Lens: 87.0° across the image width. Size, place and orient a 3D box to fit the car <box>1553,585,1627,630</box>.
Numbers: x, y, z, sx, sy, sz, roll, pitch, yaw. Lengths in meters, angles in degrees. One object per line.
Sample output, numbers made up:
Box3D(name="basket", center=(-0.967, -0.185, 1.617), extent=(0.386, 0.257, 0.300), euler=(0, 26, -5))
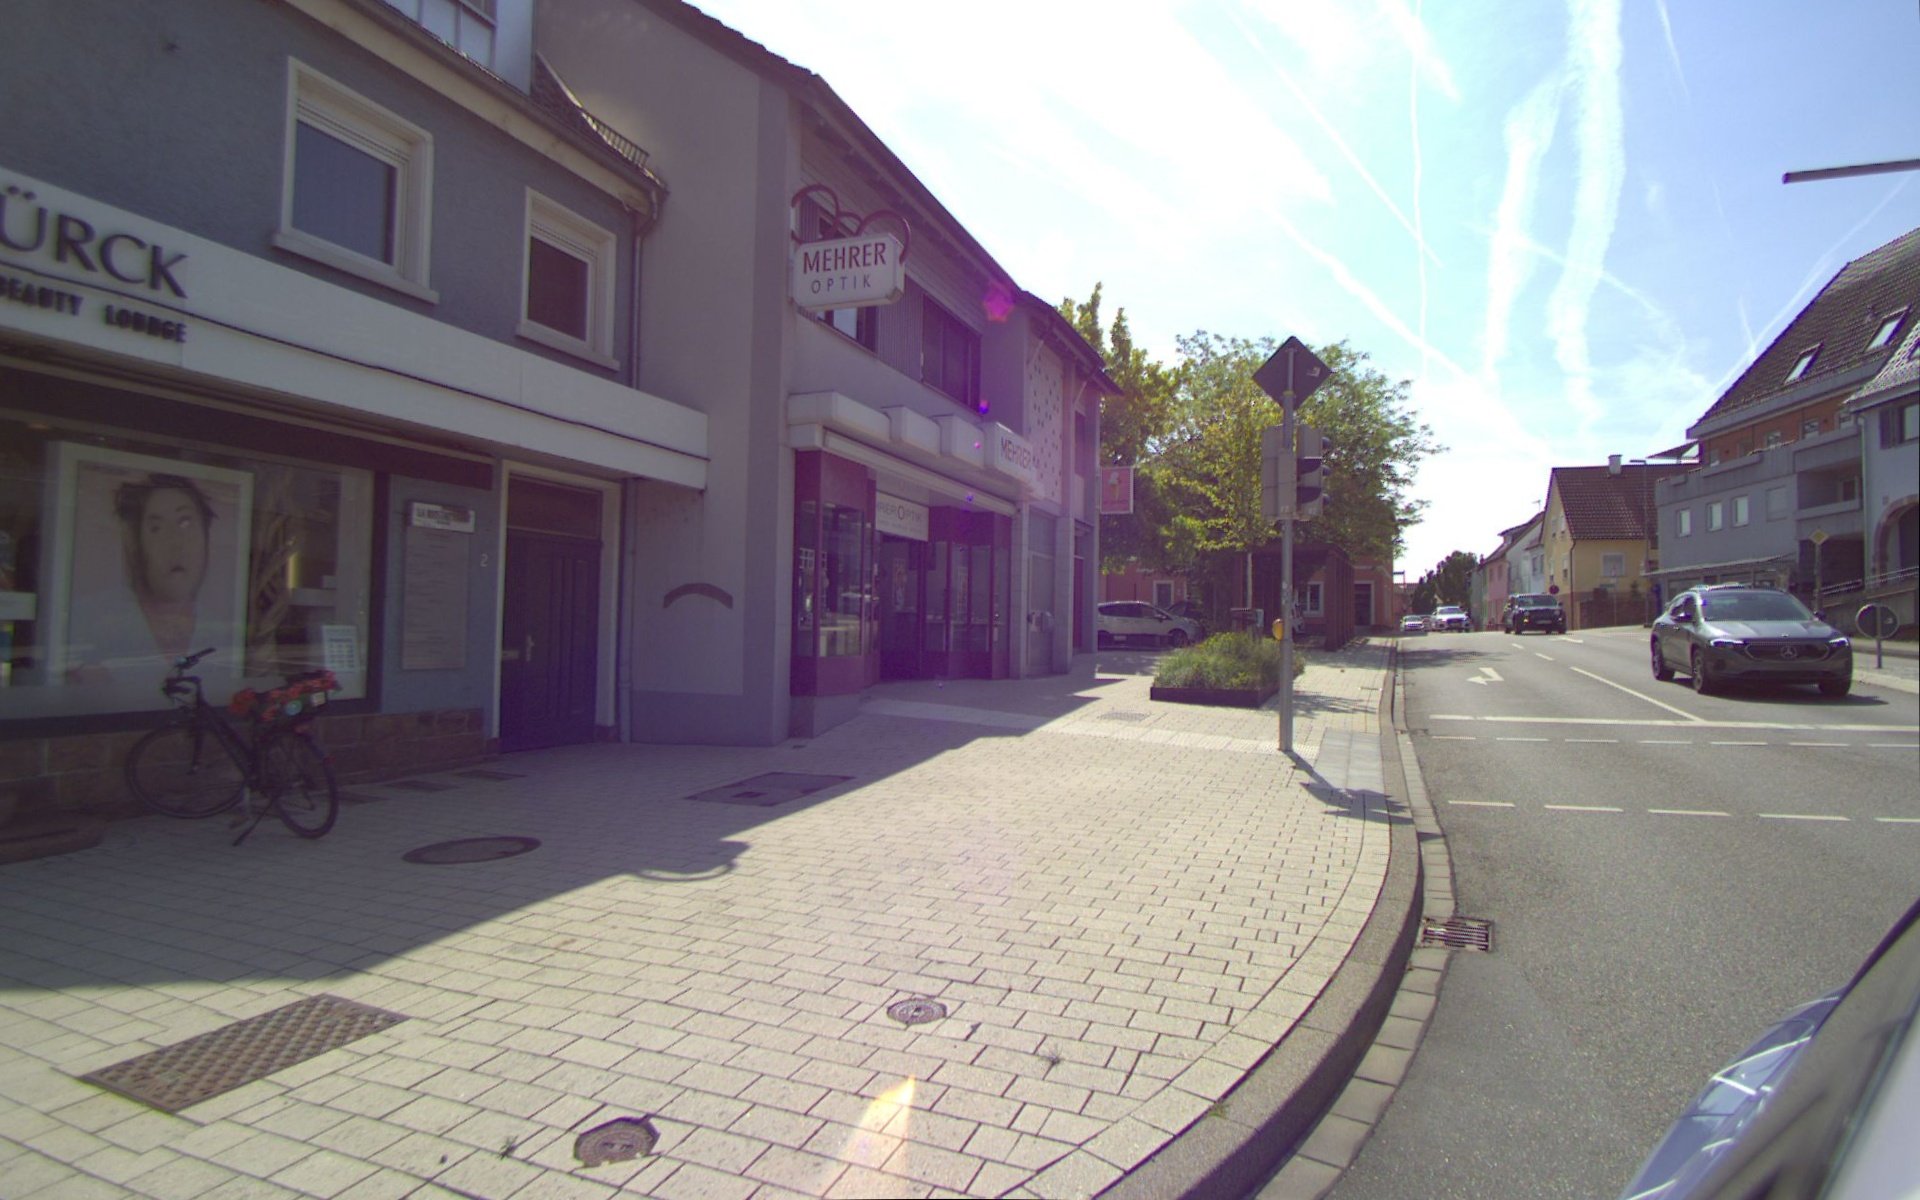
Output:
Box3D(name="car", center=(24.959, 0.302, 40.228), extent=(1.773, 1.673, 4.358), euler=(-1, -1, 23))

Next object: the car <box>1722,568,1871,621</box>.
Box3D(name="car", center=(31.140, -0.149, 37.924), extent=(1.780, 1.821, 5.271), euler=(-1, -1, 9))

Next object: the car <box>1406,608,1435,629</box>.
Box3D(name="car", center=(36.649, 1.458, 80.532), extent=(1.821, 1.562, 4.129), euler=(-1, -1, 28))

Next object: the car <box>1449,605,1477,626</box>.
Box3D(name="car", center=(39.515, 1.204, 79.473), extent=(1.821, 1.562, 4.129), euler=(-1, -1, 28))

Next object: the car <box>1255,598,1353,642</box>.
Box3D(name="car", center=(16.636, 0.975, 48.978), extent=(4.066, 1.777, 1.792), euler=(-6, -4, 31))

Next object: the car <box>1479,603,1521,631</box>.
Box3D(name="car", center=(31.967, 1.001, 60.023), extent=(1.760, 1.562, 4.067), euler=(-2, -1, 22))

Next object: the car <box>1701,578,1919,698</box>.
Box3D(name="car", center=(13.033, 0.523, 15.639), extent=(1.721, 1.593, 4.252), euler=(-3, -1, 26))

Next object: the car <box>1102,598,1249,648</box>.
Box3D(name="car", center=(7.035, 0.759, 33.064), extent=(4.446, 1.564, 1.711), euler=(-1, -1, 25))

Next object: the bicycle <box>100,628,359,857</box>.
Box3D(name="bicycle", center=(-4.571, 0.812, 6.306), extent=(1.791, 1.250, 0.544), euler=(0, -1, 27))

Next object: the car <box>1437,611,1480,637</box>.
Box3D(name="car", center=(29.880, 1.420, 60.783), extent=(1.765, 1.444, 3.684), euler=(-3, -2, 19))
